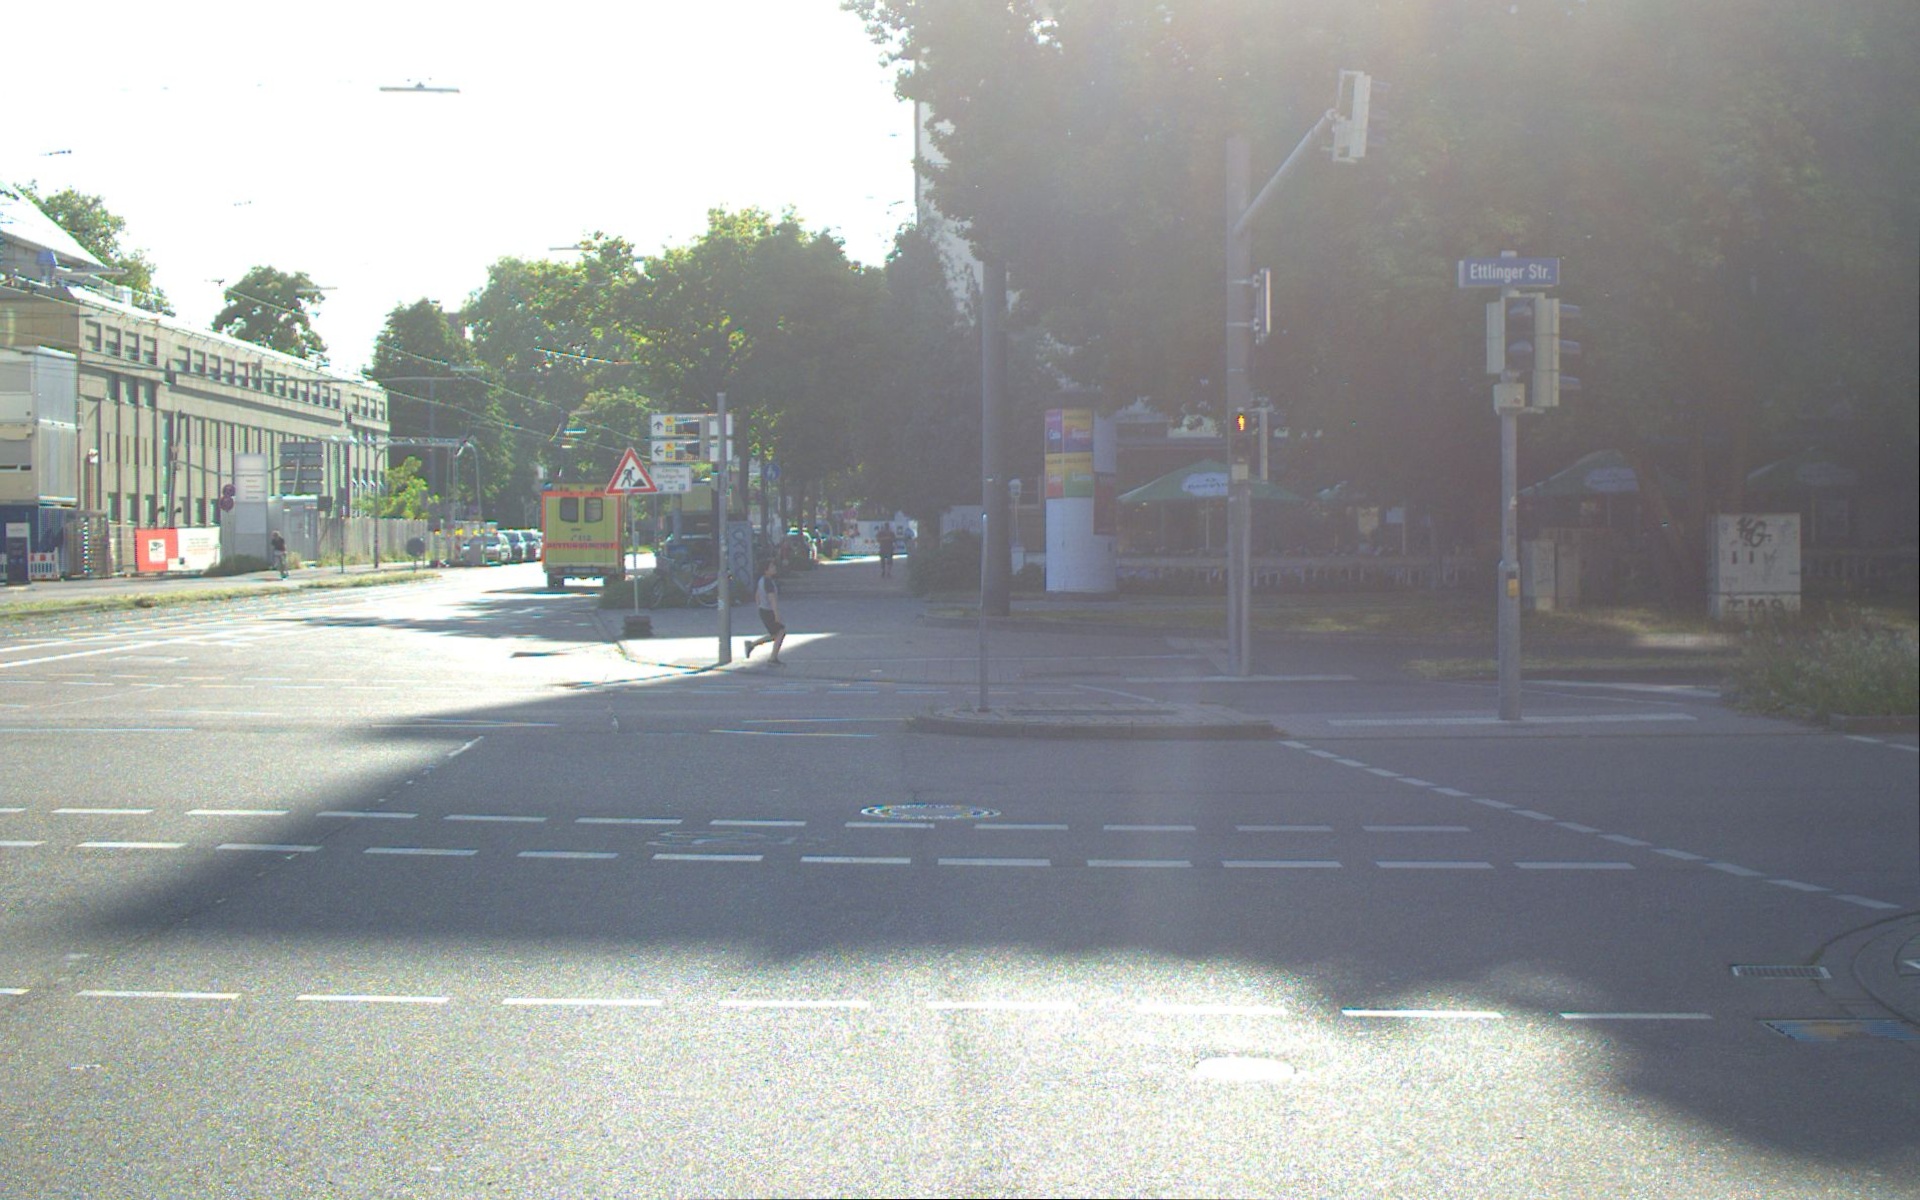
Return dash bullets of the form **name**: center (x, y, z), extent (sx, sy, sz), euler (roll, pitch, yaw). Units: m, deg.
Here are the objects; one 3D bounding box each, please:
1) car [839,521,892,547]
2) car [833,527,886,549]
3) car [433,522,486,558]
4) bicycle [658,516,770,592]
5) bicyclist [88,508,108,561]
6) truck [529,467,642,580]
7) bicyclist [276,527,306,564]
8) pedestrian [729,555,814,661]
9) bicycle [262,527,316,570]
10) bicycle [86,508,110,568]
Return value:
- **car**: center (-5.868, -4.098, 213.429), extent (3.214, 1.583, 1.446), euler (1, 0, -4)
- **car**: center (-6.197, -3.807, 211.179), extent (3.217, 1.259, 1.373), euler (1, 0, -1)
- **car**: center (-22.736, -2.715, 156.315), extent (1.894, 1.601, 4.501), euler (-1, 1, -2)
- **bicycle**: center (-5.810, -1.090, 81.390), extent (2.547, 1.737, 1.037), euler (1, 0, 0)
- **bicyclist**: center (-32.681, -2.488, 130.394), extent (0.571, 2.017, 0.762), euler (0, 1, -2)
- **truck**: center (-10.287, -2.108, 94.839), extent (2.716, 3.005, 6.490), euler (0, 1, -3)
- **bicyclist**: center (-24.240, -1.958, 124.602), extent (0.690, 1.323, 0.999), euler (1, 0, 15)
- **pedestrian**: center (-2.391, 0.097, 43.650), extent (0.993, 1.313, 0.767), euler (0, 1, 2)
- **bicycle**: center (-24.288, -1.863, 124.533), extent (0.690, 1.506, 2.942), euler (1, 1, 15)
- **bicycle**: center (-32.683, -2.350, 130.333), extent (0.571, 2.288, 1.422), euler (0, 1, -2)
